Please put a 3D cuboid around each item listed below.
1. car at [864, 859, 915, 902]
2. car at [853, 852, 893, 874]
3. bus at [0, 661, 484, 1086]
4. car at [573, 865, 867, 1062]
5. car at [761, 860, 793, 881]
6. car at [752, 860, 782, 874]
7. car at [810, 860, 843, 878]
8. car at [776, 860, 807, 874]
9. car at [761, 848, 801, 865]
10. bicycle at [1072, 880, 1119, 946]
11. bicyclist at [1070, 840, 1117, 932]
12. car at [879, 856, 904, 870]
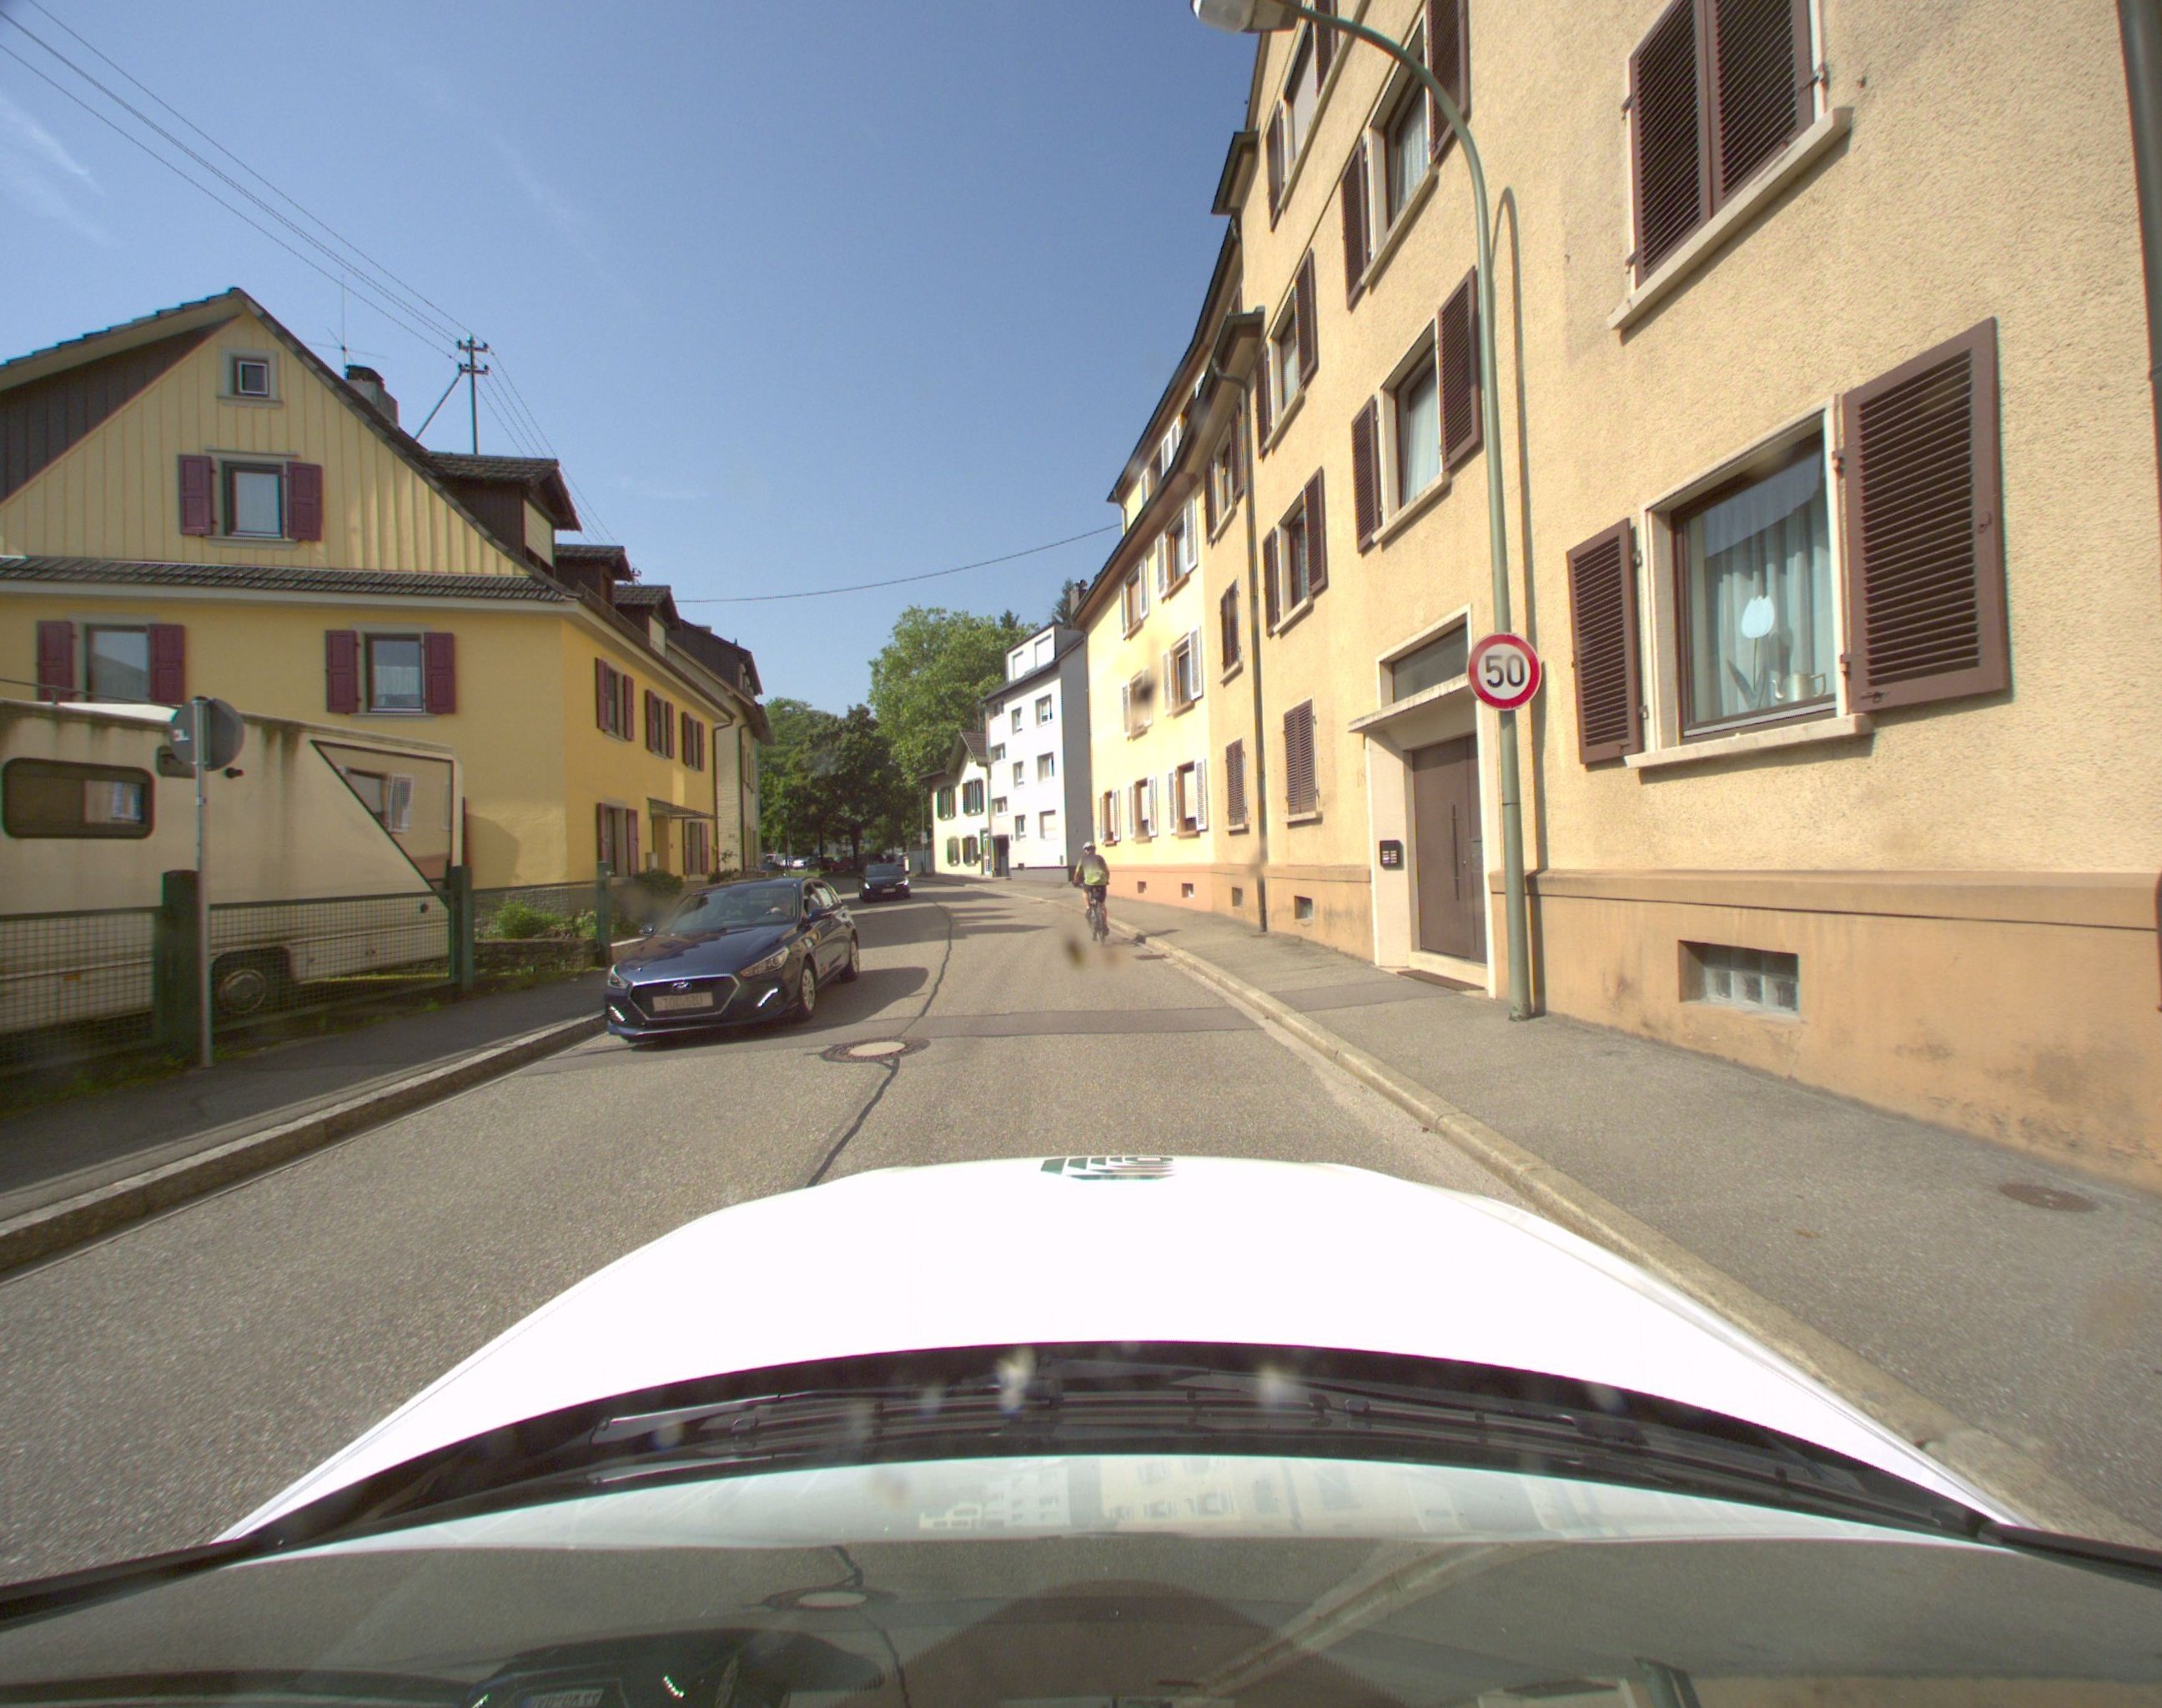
[{"bbox_3d":[-7.512,0.983,32.292,1.660,1.449,4.243,-5,1,-11],"label":"car"},{"bbox_3d":[-17.923,0.766,69.985,1.837,1.791,3.954,-3,2,-38],"label":"car"},{"bbox_3d":[-9.612,0.159,6.699,2.812,3.228,9.032,-1,0,-1],"label":"bus"},{"bbox_3d":[-3.662,0.970,9.128,1.746,1.452,4.018,-6,1,-6],"label":"car"},{"bbox_3d":[-25.526,1.403,68.308,1.835,1.537,3.963,-6,1,-28],"label":"car"},{"bbox_3d":[-34.909,1.481,90.467,3.366,1.468,1.689,-2,0,41],"label":"car"},{"bbox_3d":[-24.923,1.447,79.737,1.722,1.542,3.954,-3,2,-38],"label":"car"},{"bbox_3d":[-34.725,1.581,97.840,1.799,1.552,4.009,-2,0,8],"label":"car"},{"bbox_3d":[-37.180,0.288,101.044,1.976,1.855,4.726,-2,0,22],"label":"car"},{"bbox_3d":[0.226,0.997,14.244,0.697,1.035,1.469,-1,0,-4],"label":"bicycle"},{"bbox_3d":[0.200,0.542,14.156,0.684,1.531,0.714,-3,-1,-5],"label":"bicyclist"},{"bbox_3d":[-19.350,0.909,83.111,1.591,1.257,3.825,-3,1,-25],"label":"car"}]
